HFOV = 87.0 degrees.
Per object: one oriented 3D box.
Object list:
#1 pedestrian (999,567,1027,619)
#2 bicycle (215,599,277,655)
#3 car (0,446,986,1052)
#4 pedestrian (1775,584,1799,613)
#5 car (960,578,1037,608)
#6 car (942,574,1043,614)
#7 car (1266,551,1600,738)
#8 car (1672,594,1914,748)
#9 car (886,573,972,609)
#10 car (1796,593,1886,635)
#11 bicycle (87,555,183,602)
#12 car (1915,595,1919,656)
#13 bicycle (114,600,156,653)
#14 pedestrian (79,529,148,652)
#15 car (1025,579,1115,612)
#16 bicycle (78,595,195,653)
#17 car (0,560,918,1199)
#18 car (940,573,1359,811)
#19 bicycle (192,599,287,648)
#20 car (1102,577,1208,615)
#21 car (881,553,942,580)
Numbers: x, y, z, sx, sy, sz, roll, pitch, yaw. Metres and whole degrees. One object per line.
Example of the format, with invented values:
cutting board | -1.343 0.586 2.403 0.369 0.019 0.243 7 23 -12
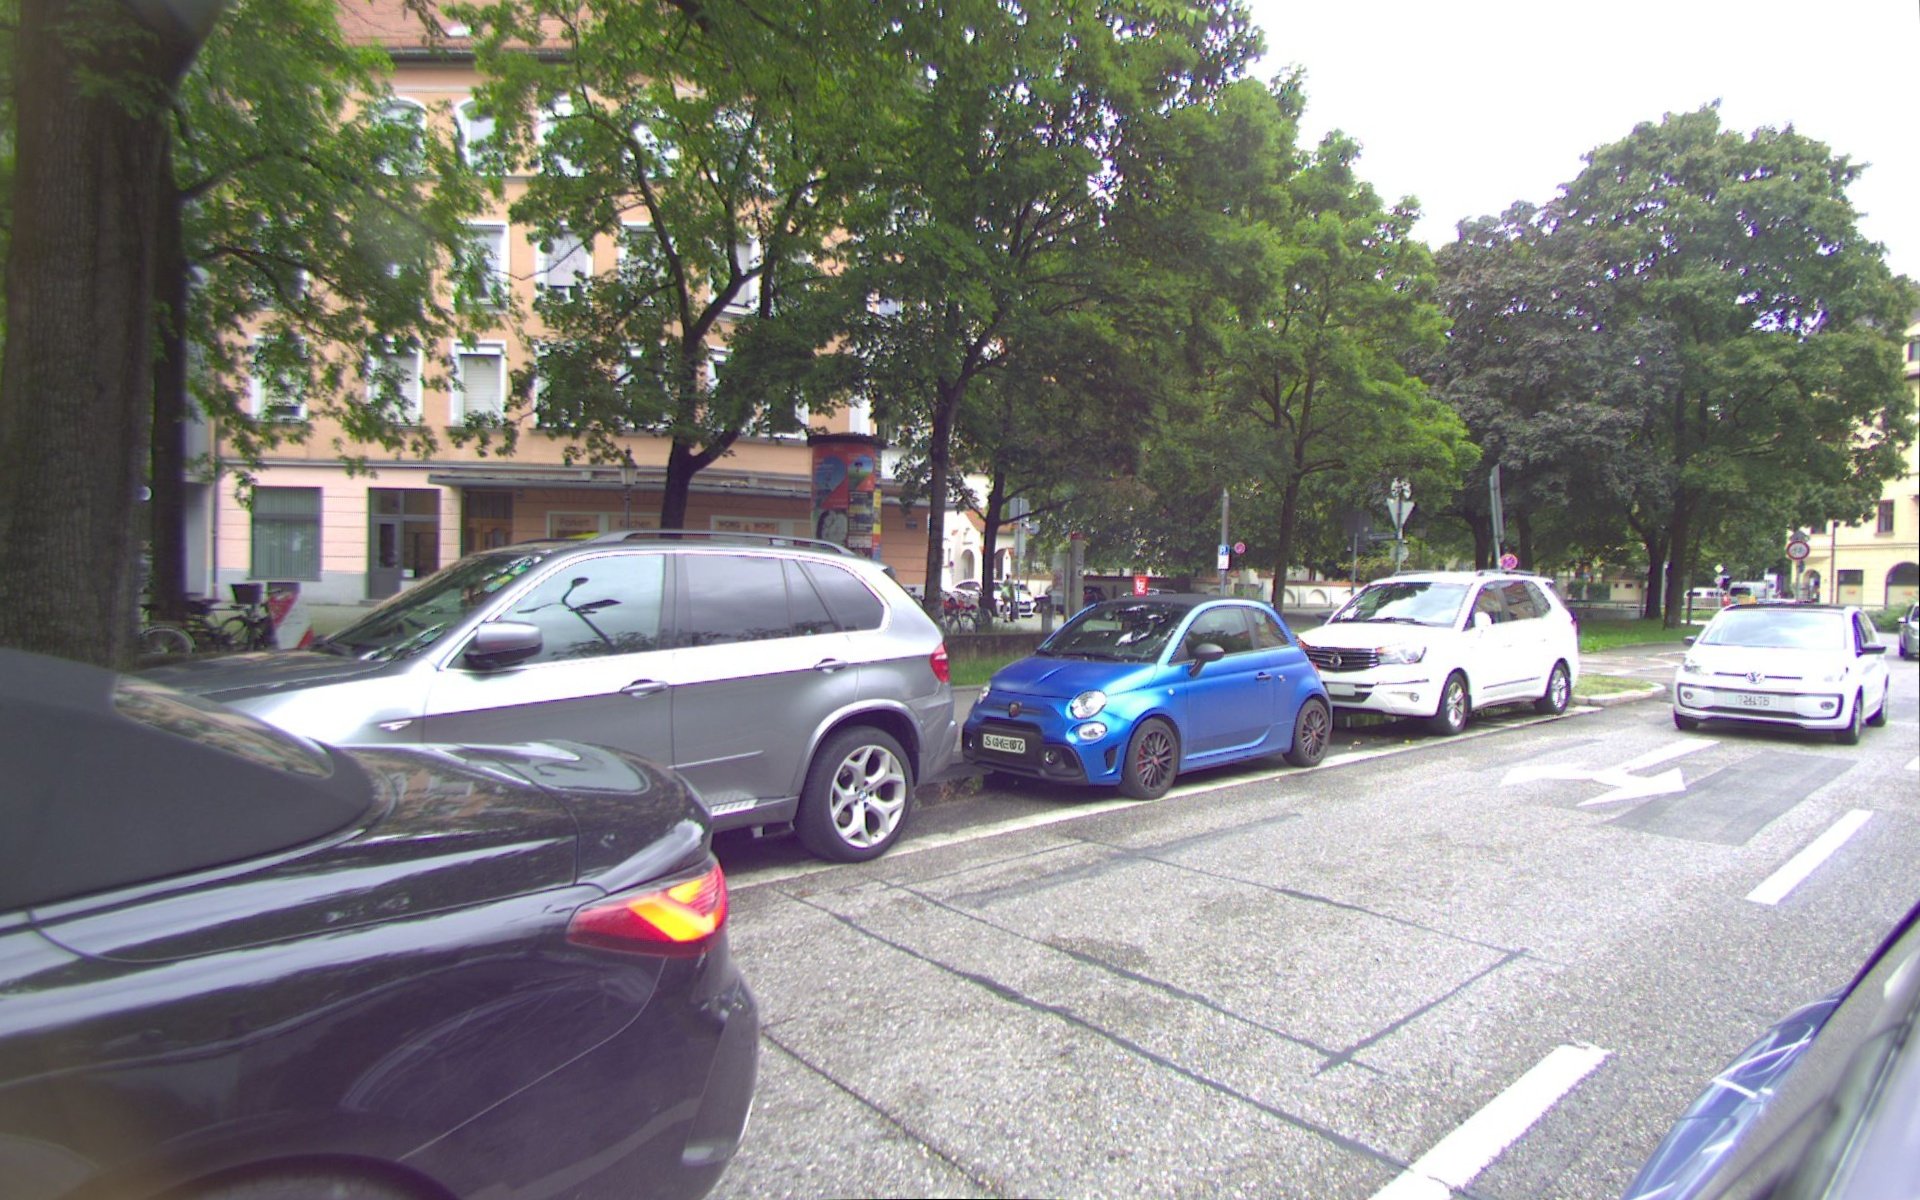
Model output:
pedestrian | 1.645 -0.221 31.329 0.632 1.571 0.603 0 0 -35
bicycle | -9.940 0.361 14.120 0.312 0.732 1.181 0 0 -15
car | -2.111 0.424 5.243 1.933 1.842 4.480 2 2 45
pedestrian | 57.955 -0.099 70.923 0.860 2.039 1.009 0 0 -9
car | 1.938 -0.347 52.500 1.824 1.485 4.446 -1 1 -31
car | 1.197 -0.242 39.477 1.824 1.485 4.446 -1 1 -31
car | 5.986 0.426 12.495 4.935 1.879 1.847 0 1 -41
car | 9.830 0.704 11.863 3.557 1.484 1.647 0 2 -42
car | -1.396 -0.379 43.876 1.824 1.485 4.447 -1 1 -31
car | 46.756 0.696 53.809 1.629 2.009 3.996 1 1 8
bicycle | -23.266 -0.612 28.566 2.204 1.306 0.507 0 0 -4
car | 26.235 0.666 26.345 3.820 1.549 1.647 0 2 -42
bicycle | -11.988 0.367 14.723 0.313 0.732 1.179 0 0 -32
pedestrian | -13.466 -0.153 16.114 0.617 1.926 0.630 0 0 -13
car | 5.018 -0.219 46.861 1.824 1.485 4.446 -1 1 -31
bicycle | -10.791 0.300 13.296 1.155 0.732 0.319 -1 0 -30
car | -2.438 0.632 1.231 4.714 1.407 1.727 0 2 -41
car | 1.712 0.601 8.499 3.597 1.568 1.523 0 1 -41
bicycle | -11.127 0.353 15.645 1.154 0.732 0.320 0 0 -19
car | 8.022 -0.186 41.940 1.824 1.485 4.446 -1 1 -31
car | -2.978 -2.002 61.326 1.824 1.485 4.447 -1 1 -31
